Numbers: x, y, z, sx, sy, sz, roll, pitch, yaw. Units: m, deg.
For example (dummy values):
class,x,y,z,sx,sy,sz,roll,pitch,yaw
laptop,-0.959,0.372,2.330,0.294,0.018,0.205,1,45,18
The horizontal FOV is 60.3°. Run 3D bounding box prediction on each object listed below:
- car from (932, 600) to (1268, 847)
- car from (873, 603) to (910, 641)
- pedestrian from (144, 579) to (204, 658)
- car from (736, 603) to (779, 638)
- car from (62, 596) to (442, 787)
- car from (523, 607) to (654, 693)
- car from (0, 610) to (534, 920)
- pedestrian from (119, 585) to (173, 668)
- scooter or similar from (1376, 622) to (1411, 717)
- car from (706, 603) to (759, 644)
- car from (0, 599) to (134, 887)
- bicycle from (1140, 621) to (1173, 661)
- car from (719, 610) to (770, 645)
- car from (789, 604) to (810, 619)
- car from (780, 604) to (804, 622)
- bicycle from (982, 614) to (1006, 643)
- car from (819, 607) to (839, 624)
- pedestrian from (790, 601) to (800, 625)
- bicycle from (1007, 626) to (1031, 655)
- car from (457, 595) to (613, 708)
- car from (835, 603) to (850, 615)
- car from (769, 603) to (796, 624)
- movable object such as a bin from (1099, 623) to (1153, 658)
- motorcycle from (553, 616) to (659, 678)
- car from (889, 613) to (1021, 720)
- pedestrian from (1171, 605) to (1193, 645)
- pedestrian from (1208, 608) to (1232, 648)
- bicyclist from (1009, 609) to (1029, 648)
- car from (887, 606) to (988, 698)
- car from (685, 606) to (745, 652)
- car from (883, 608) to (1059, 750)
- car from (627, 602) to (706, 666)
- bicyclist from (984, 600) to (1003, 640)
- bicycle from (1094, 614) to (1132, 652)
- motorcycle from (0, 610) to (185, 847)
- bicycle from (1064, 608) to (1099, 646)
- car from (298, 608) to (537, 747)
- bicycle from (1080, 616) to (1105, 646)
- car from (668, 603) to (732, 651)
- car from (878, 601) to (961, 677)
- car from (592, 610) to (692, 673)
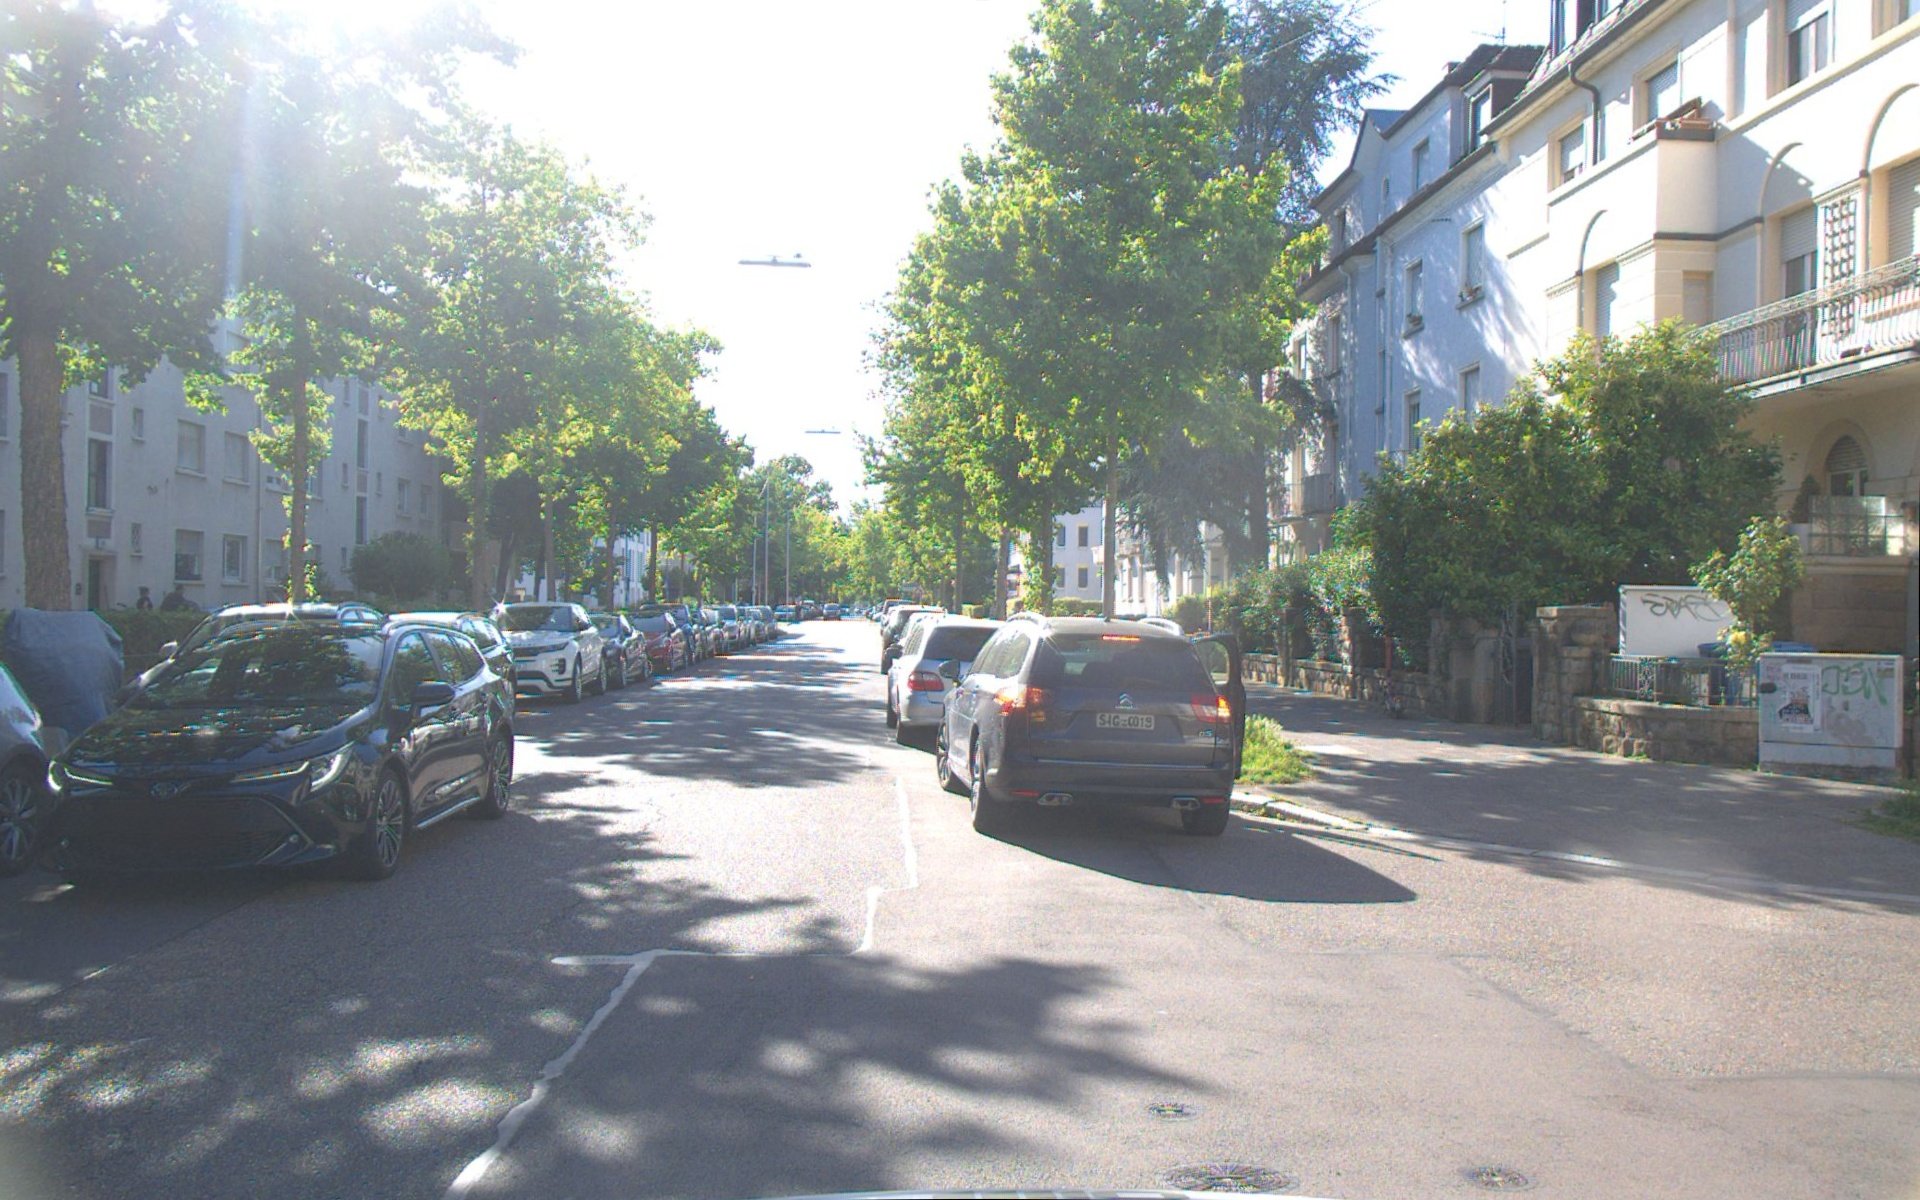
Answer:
class,x,y,z,sx,sy,sz,roll,pitch,yaw
car,0.863,0.837,13.073,1.858,1.551,4.962,1,-1,-4
car,-3.804,1.193,91.178,1.932,1.983,4.981,1,0,-4
pedestrian,-19.332,0.448,40.706,0.913,1.921,1.027,0,0,8
car,-9.857,0.989,80.585,1.803,1.623,4.259,-1,0,-4
car,-6.519,0.748,15.897,2.024,1.551,4.716,0,0,-6
car,-7.310,0.931,32.960,1.694,1.503,4.616,-3,0,-3
car,-3.984,0.816,10.320,1.773,1.471,4.362,-1,0,-4
pedestrian,-19.412,0.626,39.460,0.765,1.947,0.878,0,-1,23
scooter or similar,5.835,0.919,22.300,0.393,1.205,1.207,0,0,12
car,-9.048,0.917,65.961,1.676,1.571,3.928,-2,0,-3
car,-6.140,0.762,8.090,2.002,1.551,4.604,0,0,-2
bicycle,5.078,1.051,42.792,0.569,0.992,1.903,0,0,-2
car,-9.672,1.206,74.517,1.954,1.478,4.259,-2,0,-4
car,-16.599,1.178,171.494,1.954,1.613,3.998,0,0,-3
car,-15.184,1.167,149.765,1.954,1.613,3.998,0,0,-3
bicycle,1.373,1.162,67.606,0.670,1.173,2.400,0,0,-6
car,-12.451,1.479,157.335,1.749,1.637,3.993,0,0,-7
pedestrian,-13.243,1.028,132.966,0.703,1.933,0.834,0,0,-13
bicycle,2.398,1.641,67.494,0.670,1.173,2.400,0,0,-6
car,-6.997,0.793,27.631,1.694,1.646,4.362,-3,0,-4
car,-15.512,1.190,218.427,1.857,1.588,3.997,0,0,-4
car,-14.395,1.095,134.507,1.954,1.700,3.998,0,0,-3
movable object such as a bin,4.658,1.121,46.278,1.195,0.920,1.665,0,0,17
motorcycle,-7.827,1.033,36.560,2.246,1.293,0.805,-1,0,-14
car,-0.174,0.963,25.827,1.677,1.435,4.857,2,0,-4
pedestrian,6.491,0.724,48.385,0.499,1.162,0.755,1,-1,-2
pedestrian,7.666,0.822,48.758,0.499,1.162,0.755,1,-1,-5
bicyclist,2.406,1.150,67.371,0.663,1.580,1.020,0,0,-6
car,-0.487,0.944,31.541,1.622,1.559,3.965,3,0,-4
car,-8.880,1.038,60.239,1.775,1.624,4.230,0,0,-3
car,0.013,0.898,20.843,1.786,1.495,4.905,2,0,-4
car,-7.940,0.882,45.043,1.755,1.594,4.459,-2,0,-6
bicyclist,1.377,0.821,67.559,0.664,1.638,0.920,0,-1,-6
bicycle,4.773,1.018,51.712,0.788,1.135,1.997,1,-1,-6
motorcycle,-6.460,0.844,11.918,0.981,1.530,2.199,0,0,-43
bicycle,4.282,0.943,58.640,0.822,1.279,2.228,1,-1,-7
car,-6.736,0.880,21.074,1.694,1.472,4.817,-2,0,-4
bicycle,4.493,1.036,56.249,0.584,0.974,1.902,0,0,-3
car,-8.569,0.871,54.713,1.727,1.469,3.905,-1,0,-4
car,-1.007,0.912,41.103,1.887,1.680,5.093,2,0,-2
car,-7.603,0.957,39.939,1.744,1.403,4.260,-1,0,-3
